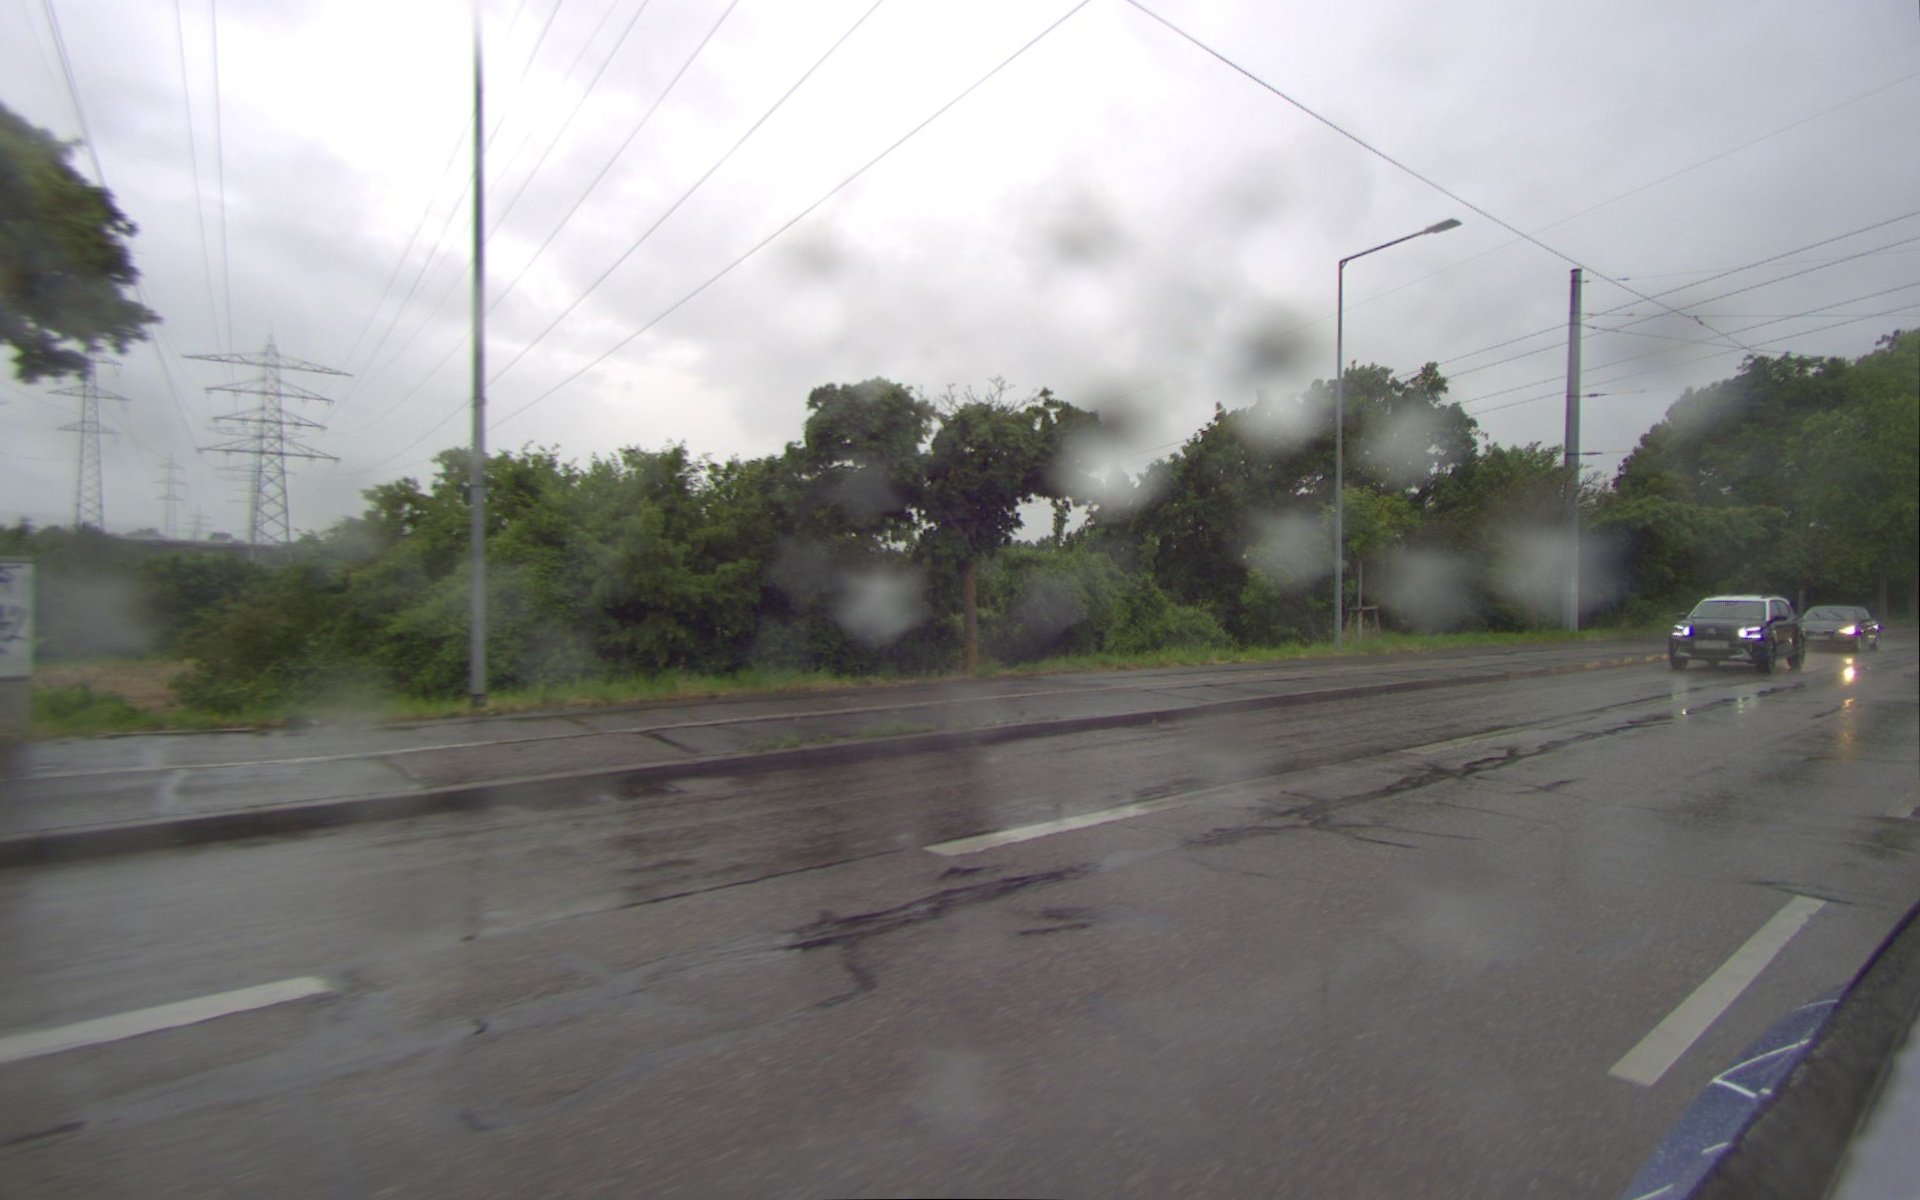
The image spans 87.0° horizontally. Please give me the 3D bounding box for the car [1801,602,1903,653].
[{"bbox_3d":[27.615,0.823,31.305,3.928,1.445,1.783,1,0,-39],"label":"car"}]

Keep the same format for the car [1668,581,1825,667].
[{"bbox_3d":[17.649,0.509,22.623,4.677,1.724,1.796,1,-1,-39],"label":"car"}]
